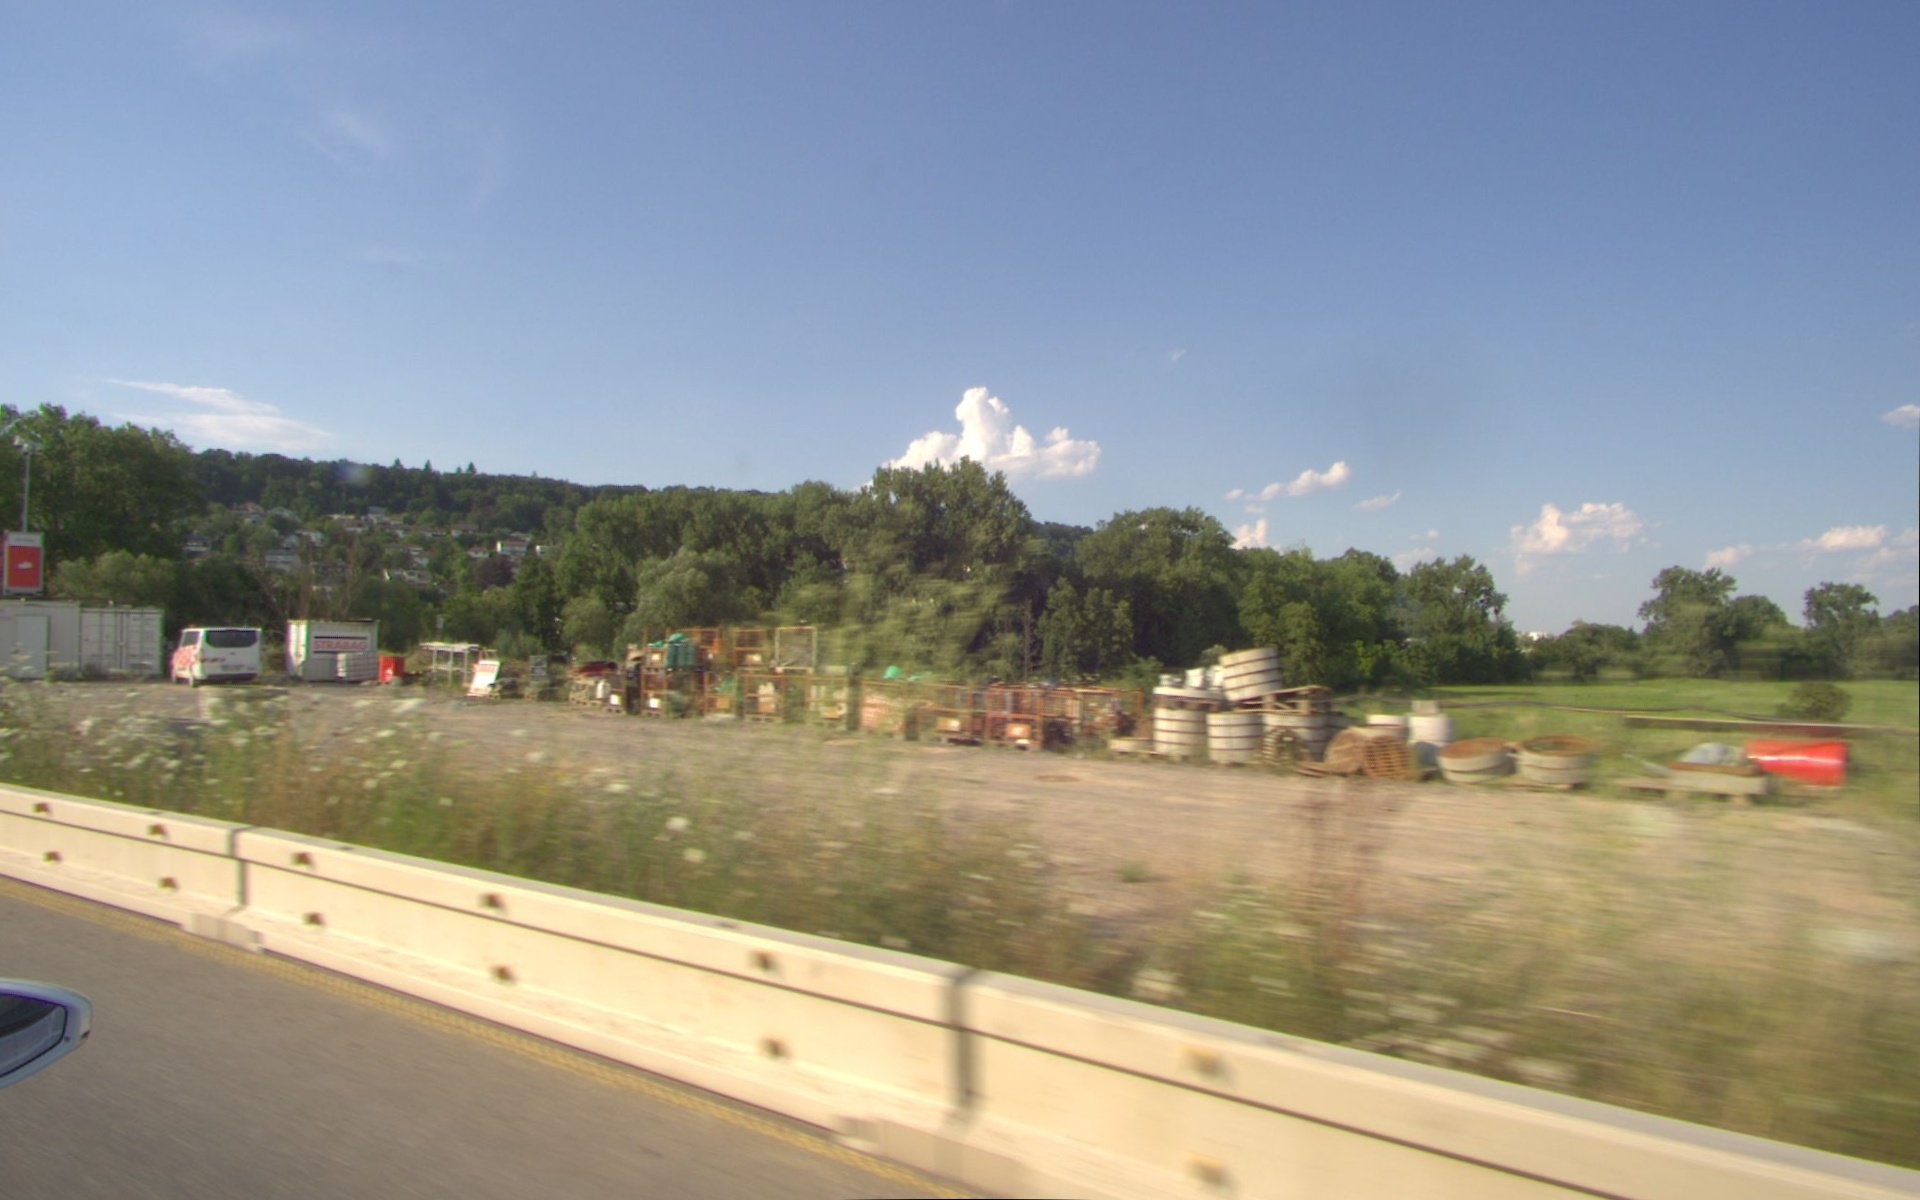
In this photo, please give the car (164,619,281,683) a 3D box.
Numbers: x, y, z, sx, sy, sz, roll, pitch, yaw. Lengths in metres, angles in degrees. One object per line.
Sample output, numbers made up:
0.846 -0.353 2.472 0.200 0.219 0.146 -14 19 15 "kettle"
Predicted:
-26.042 1.762 35.291 5.264 2.105 2.466 -2 -2 44 "car"
